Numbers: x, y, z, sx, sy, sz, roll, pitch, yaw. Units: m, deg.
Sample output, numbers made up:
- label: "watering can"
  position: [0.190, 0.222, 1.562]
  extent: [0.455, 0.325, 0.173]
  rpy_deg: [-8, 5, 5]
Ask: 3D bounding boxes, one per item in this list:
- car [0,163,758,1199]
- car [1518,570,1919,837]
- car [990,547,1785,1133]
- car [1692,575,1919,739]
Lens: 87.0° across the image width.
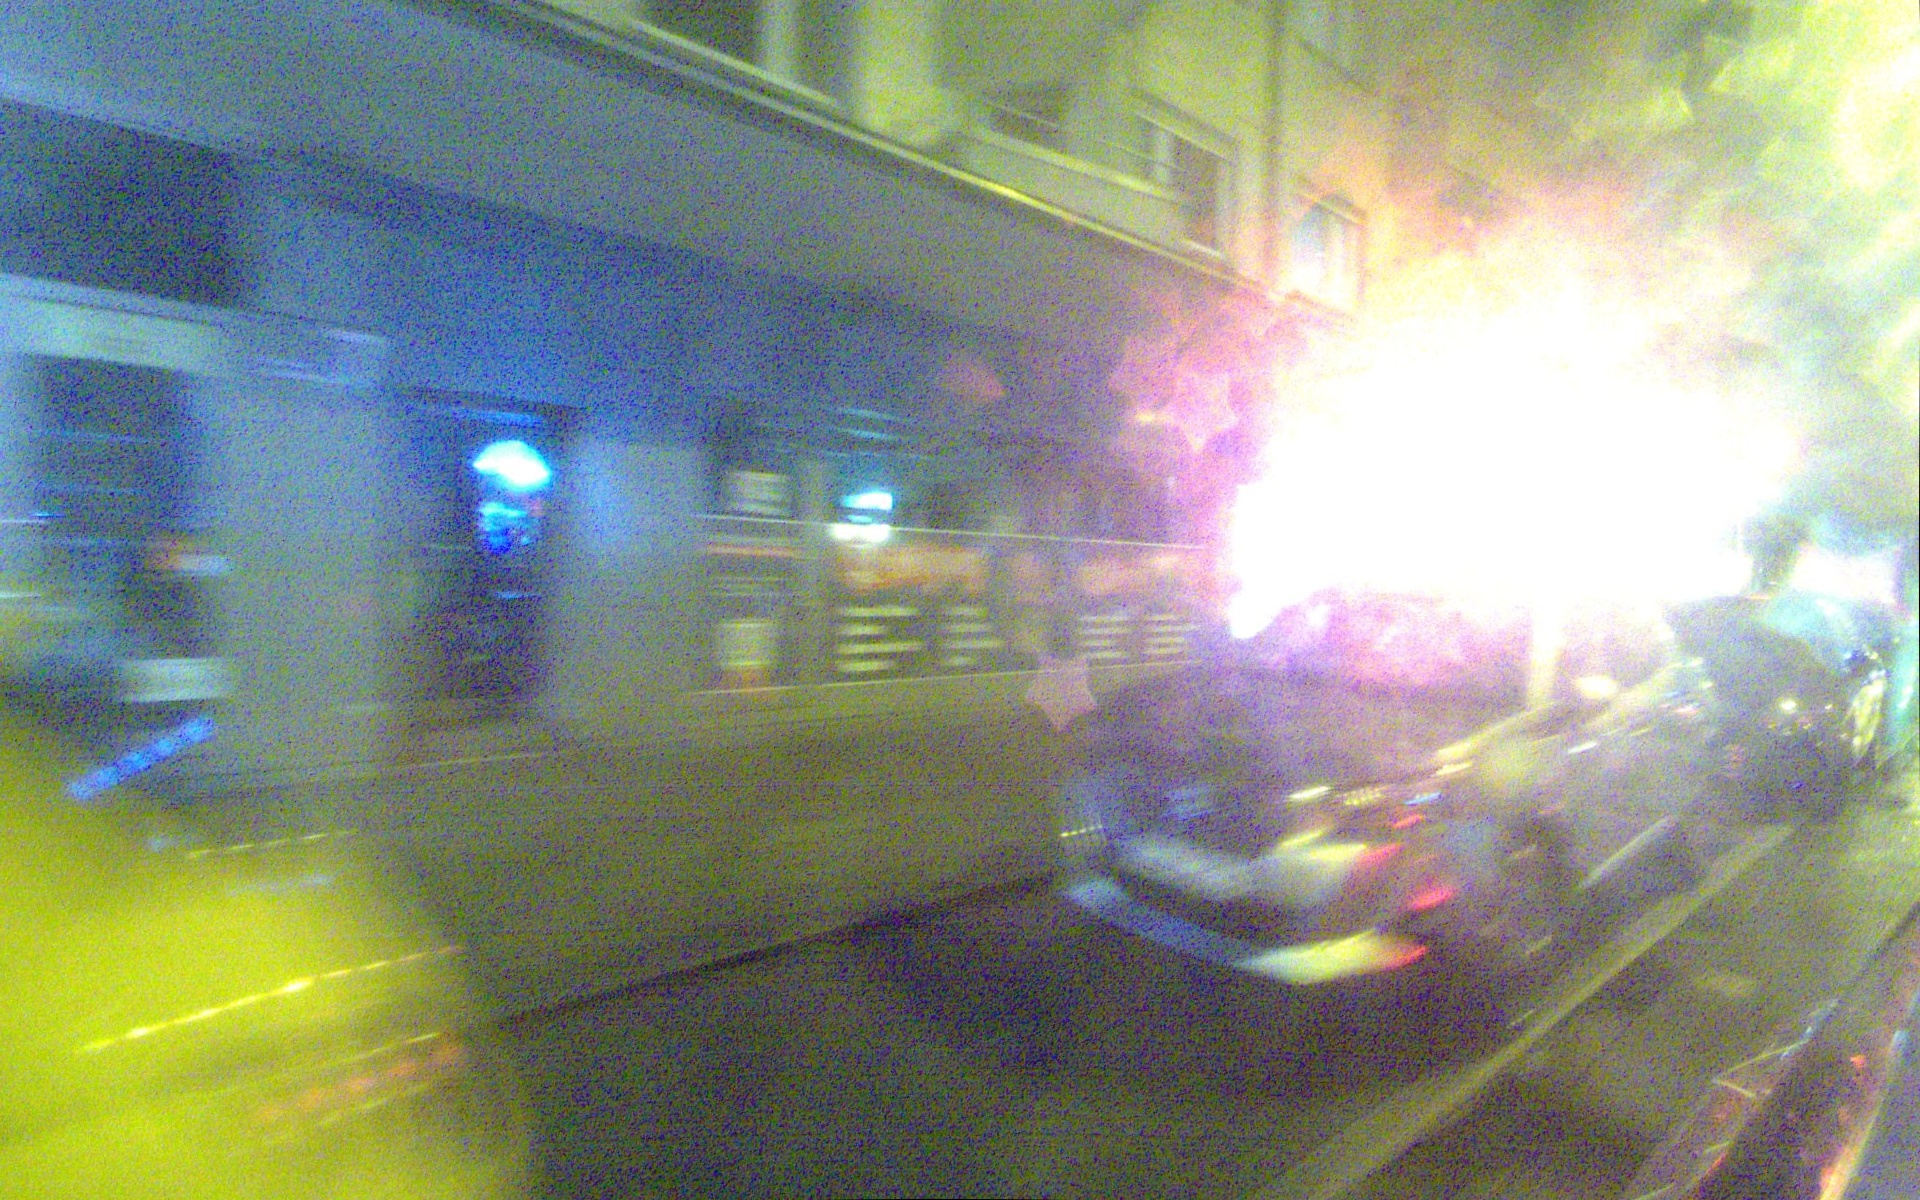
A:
- label: "car"
  position: [-2.257, 0.462, 0.728]
  extent: [3.789, 1.743, 1.676]
  rpy_deg: [0, 3, -41]
- label: "car"
  position: [6.260, 0.591, 8.042]
  extent: [4.089, 1.525, 1.845]
  rpy_deg: [0, 3, -41]
- label: "car"
  position: [2.231, 0.600, 4.654]
  extent: [4.089, 1.525, 1.689]
  rpy_deg: [0, 3, -41]
- label: "car"
  position: [10.337, 0.537, 11.909]
  extent: [4.089, 1.525, 1.845]
  rpy_deg: [0, 3, -41]
